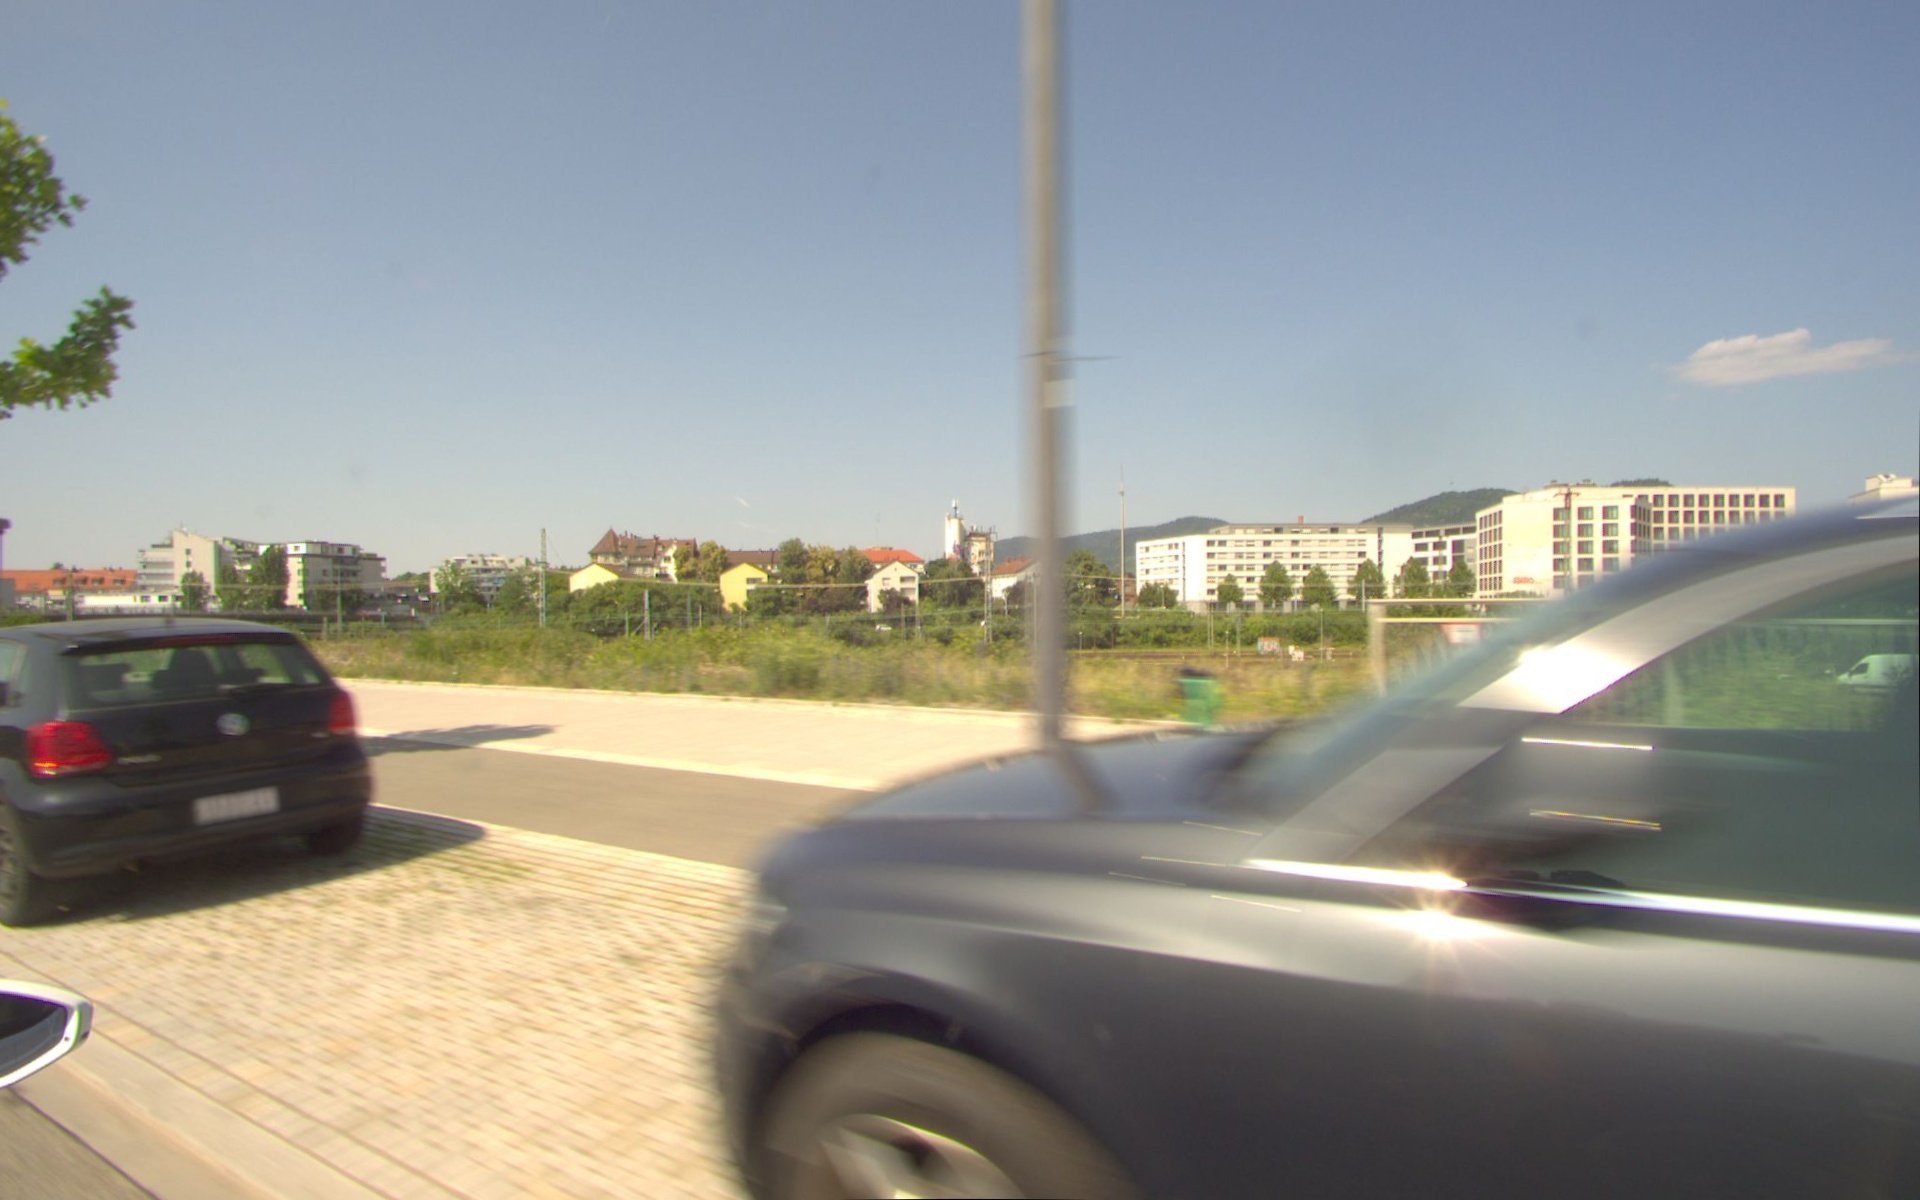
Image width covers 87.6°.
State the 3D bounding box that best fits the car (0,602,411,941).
[{"bbox_3d":[-5.392,0.785,6.175,4.179,1.448,1.629,-1,1,31],"label":"car"}]

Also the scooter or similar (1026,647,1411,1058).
[{"bbox_3d":[0.901,0.792,3.574,1.243,1.210,0.487,0,1,32],"label":"scooter or similar"}]

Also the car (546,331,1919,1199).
[{"bbox_3d":[1.367,0.533,1.774,4.179,1.630,1.731,-1,1,31],"label":"car"}]
